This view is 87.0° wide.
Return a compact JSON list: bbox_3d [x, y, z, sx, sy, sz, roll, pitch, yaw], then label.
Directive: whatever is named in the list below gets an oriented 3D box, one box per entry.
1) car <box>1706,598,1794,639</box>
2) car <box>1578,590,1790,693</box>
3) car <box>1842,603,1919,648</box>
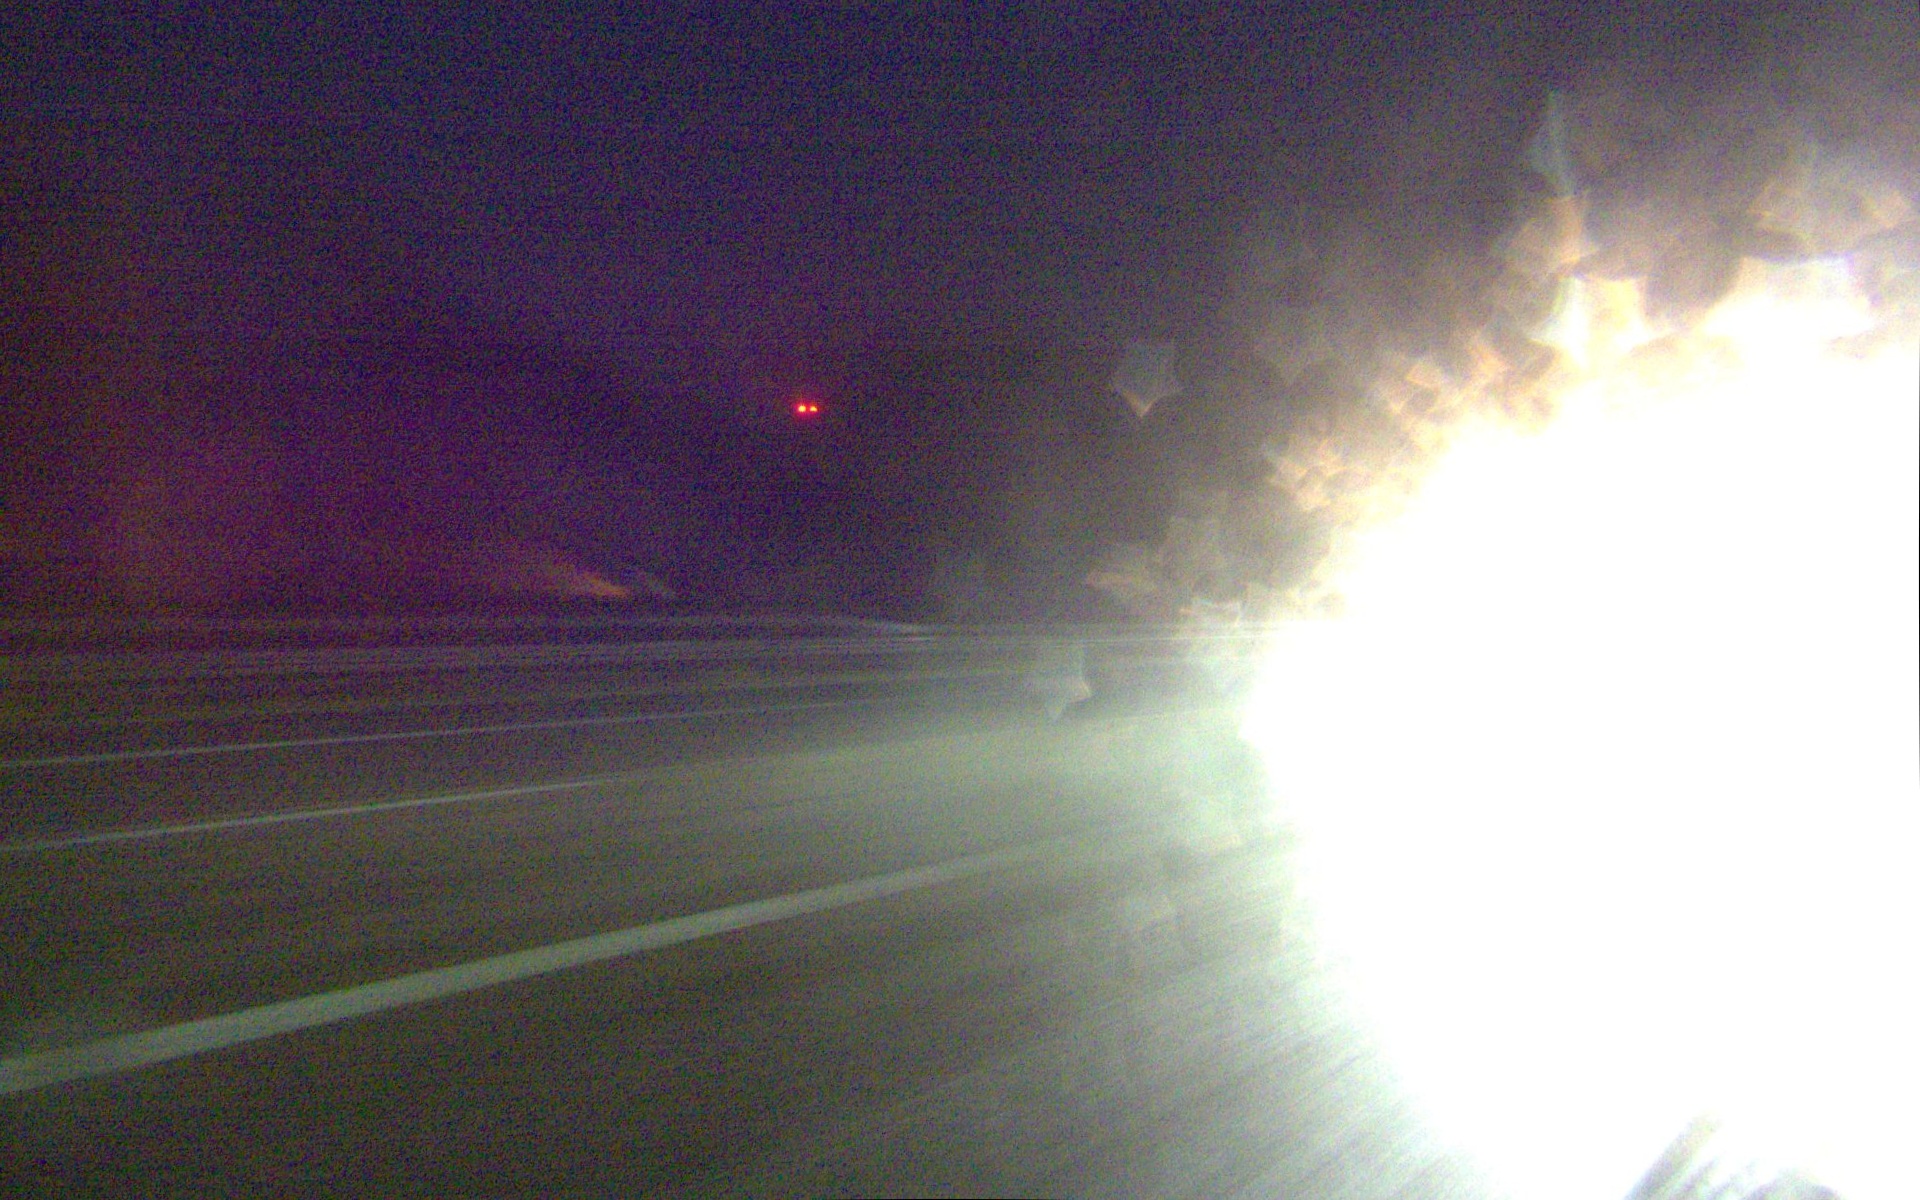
[{"bbox_3d":[30.480,0.712,38.997,3.968,1.516,1.724,1,-1,-37],"label":"car"},{"bbox_3d":[12.702,0.621,17.624,4.930,1.538,2.060,0,1,-43],"label":"car"},{"bbox_3d":[33.106,0.862,35.938,4.257,1.467,1.998,0,0,-39],"label":"car"}]
